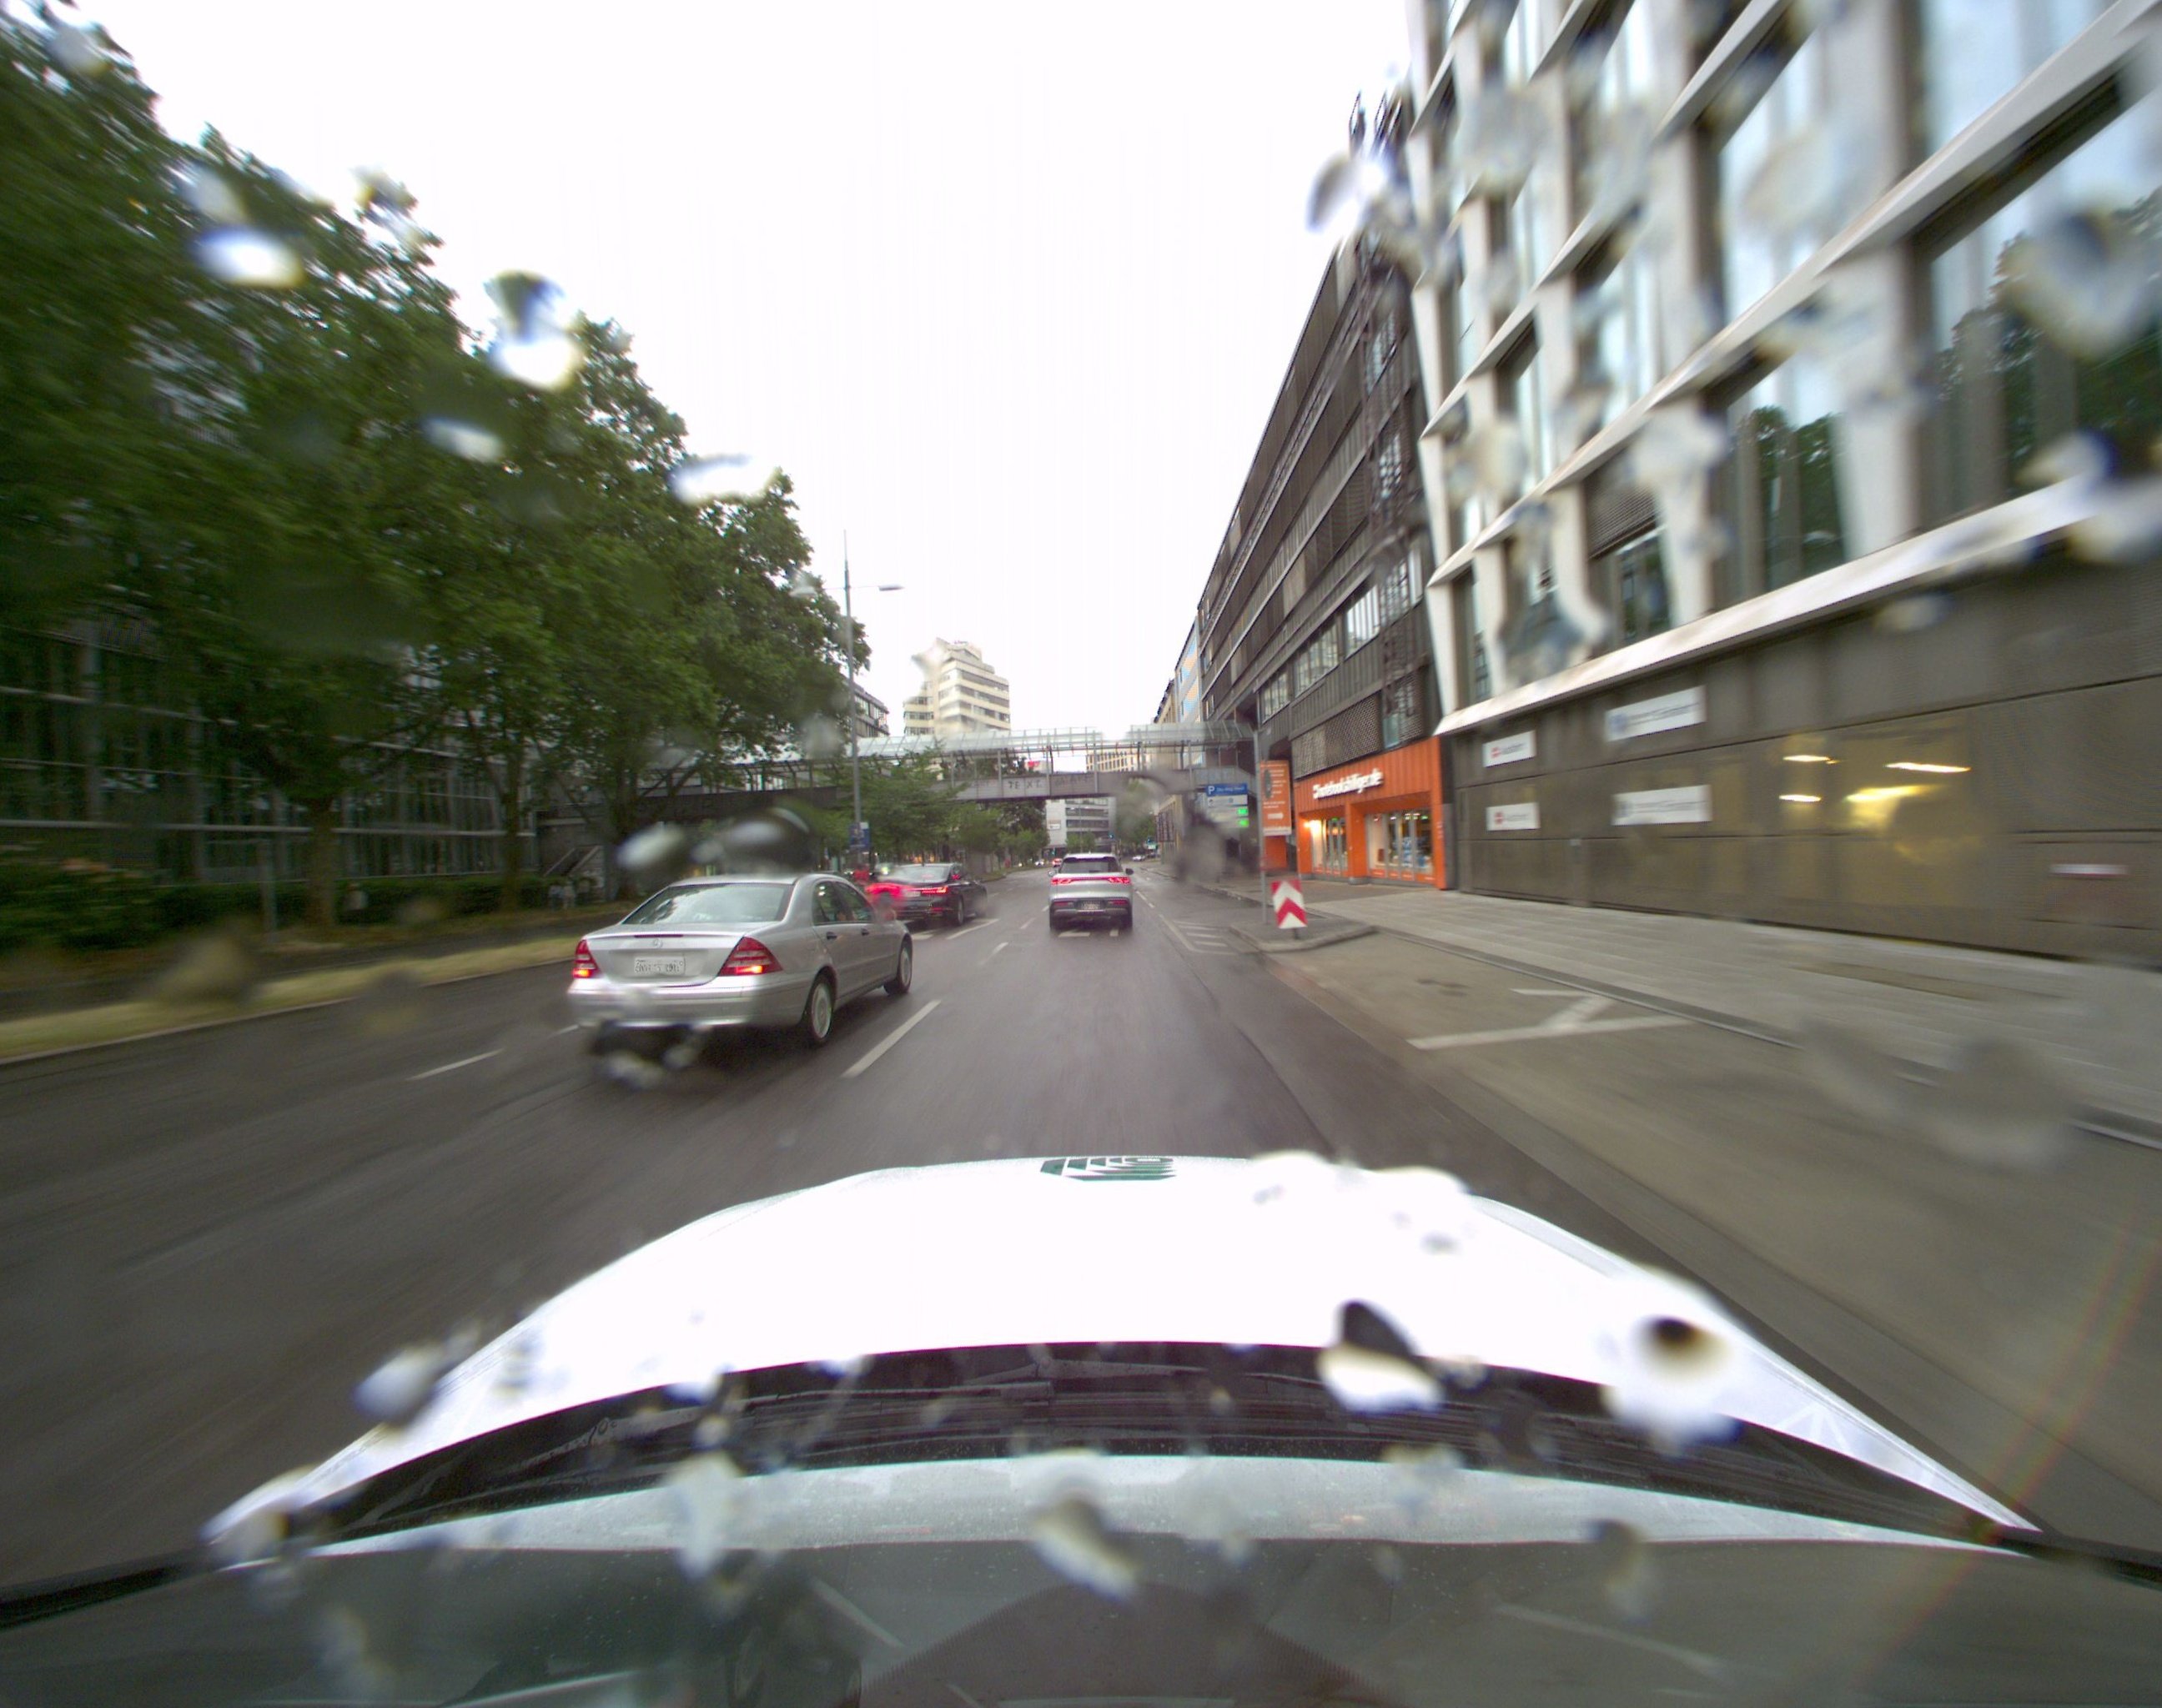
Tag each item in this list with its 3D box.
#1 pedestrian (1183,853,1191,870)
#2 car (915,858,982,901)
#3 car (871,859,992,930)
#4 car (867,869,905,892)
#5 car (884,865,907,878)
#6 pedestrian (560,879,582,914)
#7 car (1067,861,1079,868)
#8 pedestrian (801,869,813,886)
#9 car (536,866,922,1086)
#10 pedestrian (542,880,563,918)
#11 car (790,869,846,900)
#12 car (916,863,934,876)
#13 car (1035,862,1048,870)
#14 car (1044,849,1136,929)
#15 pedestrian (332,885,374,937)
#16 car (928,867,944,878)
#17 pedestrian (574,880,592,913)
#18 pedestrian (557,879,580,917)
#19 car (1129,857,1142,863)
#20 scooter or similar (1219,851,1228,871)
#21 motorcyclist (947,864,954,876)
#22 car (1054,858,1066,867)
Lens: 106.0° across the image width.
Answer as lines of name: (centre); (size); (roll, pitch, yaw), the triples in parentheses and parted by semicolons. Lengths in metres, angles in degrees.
pedestrian: (11.029, 0.771, 84.824); (0.633, 1.772, 0.790); (-3, -1, 2)
car: (-4.988, 0.960, 31.126); (1.768, 1.457, 4.000); (-3, -1, 1)
car: (-3.507, 0.897, 20.099); (1.865, 1.479, 4.880); (-2, 0, 2)
car: (-17.593, 2.336, 73.683); (1.994, 1.768, 5.183); (-6, -1, -1)
car: (-21.312, 2.016, 93.563); (1.618, 1.433, 4.444); (-3, -1, 0)
pedestrian: (-27.108, 2.245, 43.305); (0.720, 1.807, 0.618); (-2, 0, 1)
car: (-1.868, 2.497, 192.089); (1.610, 1.453, 4.183); (-3, -1, 20)
pedestrian: (-28.788, 2.504, 85.582); (0.740, 1.715, 1.057); (-2, -1, 1)
car: (-2.875, 0.892, 7.822); (1.666, 1.479, 4.362); (-2, -1, 2)
pedestrian: (-25.879, 2.197, 39.886); (0.603, 1.807, 0.511); (-2, 0, 1)
car: (-14.380, 1.655, 44.775); (1.657, 1.464, 4.080); (-5, -1, 0)
car: (-21.137, 2.059, 110.484); (1.618, 1.611, 4.231); (-1, 0, 0)
car: (-8.505, 2.595, 174.708); (1.612, 1.492, 4.322); (-3, -1, 13)
car: (0.239, 0.743, 18.783); (1.894, 1.621, 4.001); (-1, -1, 1)
pedestrian: (-26.577, 2.078, 29.741); (0.732, 1.807, 0.803); (-2, 0, 1)
car: (-20.727, 2.579, 116.526); (1.618, 1.460, 3.962); (-1, 0, 0)
pedestrian: (-26.483, 2.254, 43.338); (0.557, 1.686, 0.511); (-2, 0, 1)
pedestrian: (-25.193, 2.167, 40.056); (0.594, 1.807, 0.760); (-2, 0, 1)
car: (14.150, 1.549, 212.436); (1.565, 1.539, 4.025); (-2, -1, 32)
scooter or similar: (9.201, 0.424, 52.571); (0.348, 1.256, 1.395); (-2, -1, 2)
motorcyclist: (-16.006, 1.981, 100.214); (0.635, 1.418, 0.970); (-3, -1, 2)
car: (-3.619, 1.440, 137.766); (1.646, 1.342, 4.003); (-2, 0, 3)
